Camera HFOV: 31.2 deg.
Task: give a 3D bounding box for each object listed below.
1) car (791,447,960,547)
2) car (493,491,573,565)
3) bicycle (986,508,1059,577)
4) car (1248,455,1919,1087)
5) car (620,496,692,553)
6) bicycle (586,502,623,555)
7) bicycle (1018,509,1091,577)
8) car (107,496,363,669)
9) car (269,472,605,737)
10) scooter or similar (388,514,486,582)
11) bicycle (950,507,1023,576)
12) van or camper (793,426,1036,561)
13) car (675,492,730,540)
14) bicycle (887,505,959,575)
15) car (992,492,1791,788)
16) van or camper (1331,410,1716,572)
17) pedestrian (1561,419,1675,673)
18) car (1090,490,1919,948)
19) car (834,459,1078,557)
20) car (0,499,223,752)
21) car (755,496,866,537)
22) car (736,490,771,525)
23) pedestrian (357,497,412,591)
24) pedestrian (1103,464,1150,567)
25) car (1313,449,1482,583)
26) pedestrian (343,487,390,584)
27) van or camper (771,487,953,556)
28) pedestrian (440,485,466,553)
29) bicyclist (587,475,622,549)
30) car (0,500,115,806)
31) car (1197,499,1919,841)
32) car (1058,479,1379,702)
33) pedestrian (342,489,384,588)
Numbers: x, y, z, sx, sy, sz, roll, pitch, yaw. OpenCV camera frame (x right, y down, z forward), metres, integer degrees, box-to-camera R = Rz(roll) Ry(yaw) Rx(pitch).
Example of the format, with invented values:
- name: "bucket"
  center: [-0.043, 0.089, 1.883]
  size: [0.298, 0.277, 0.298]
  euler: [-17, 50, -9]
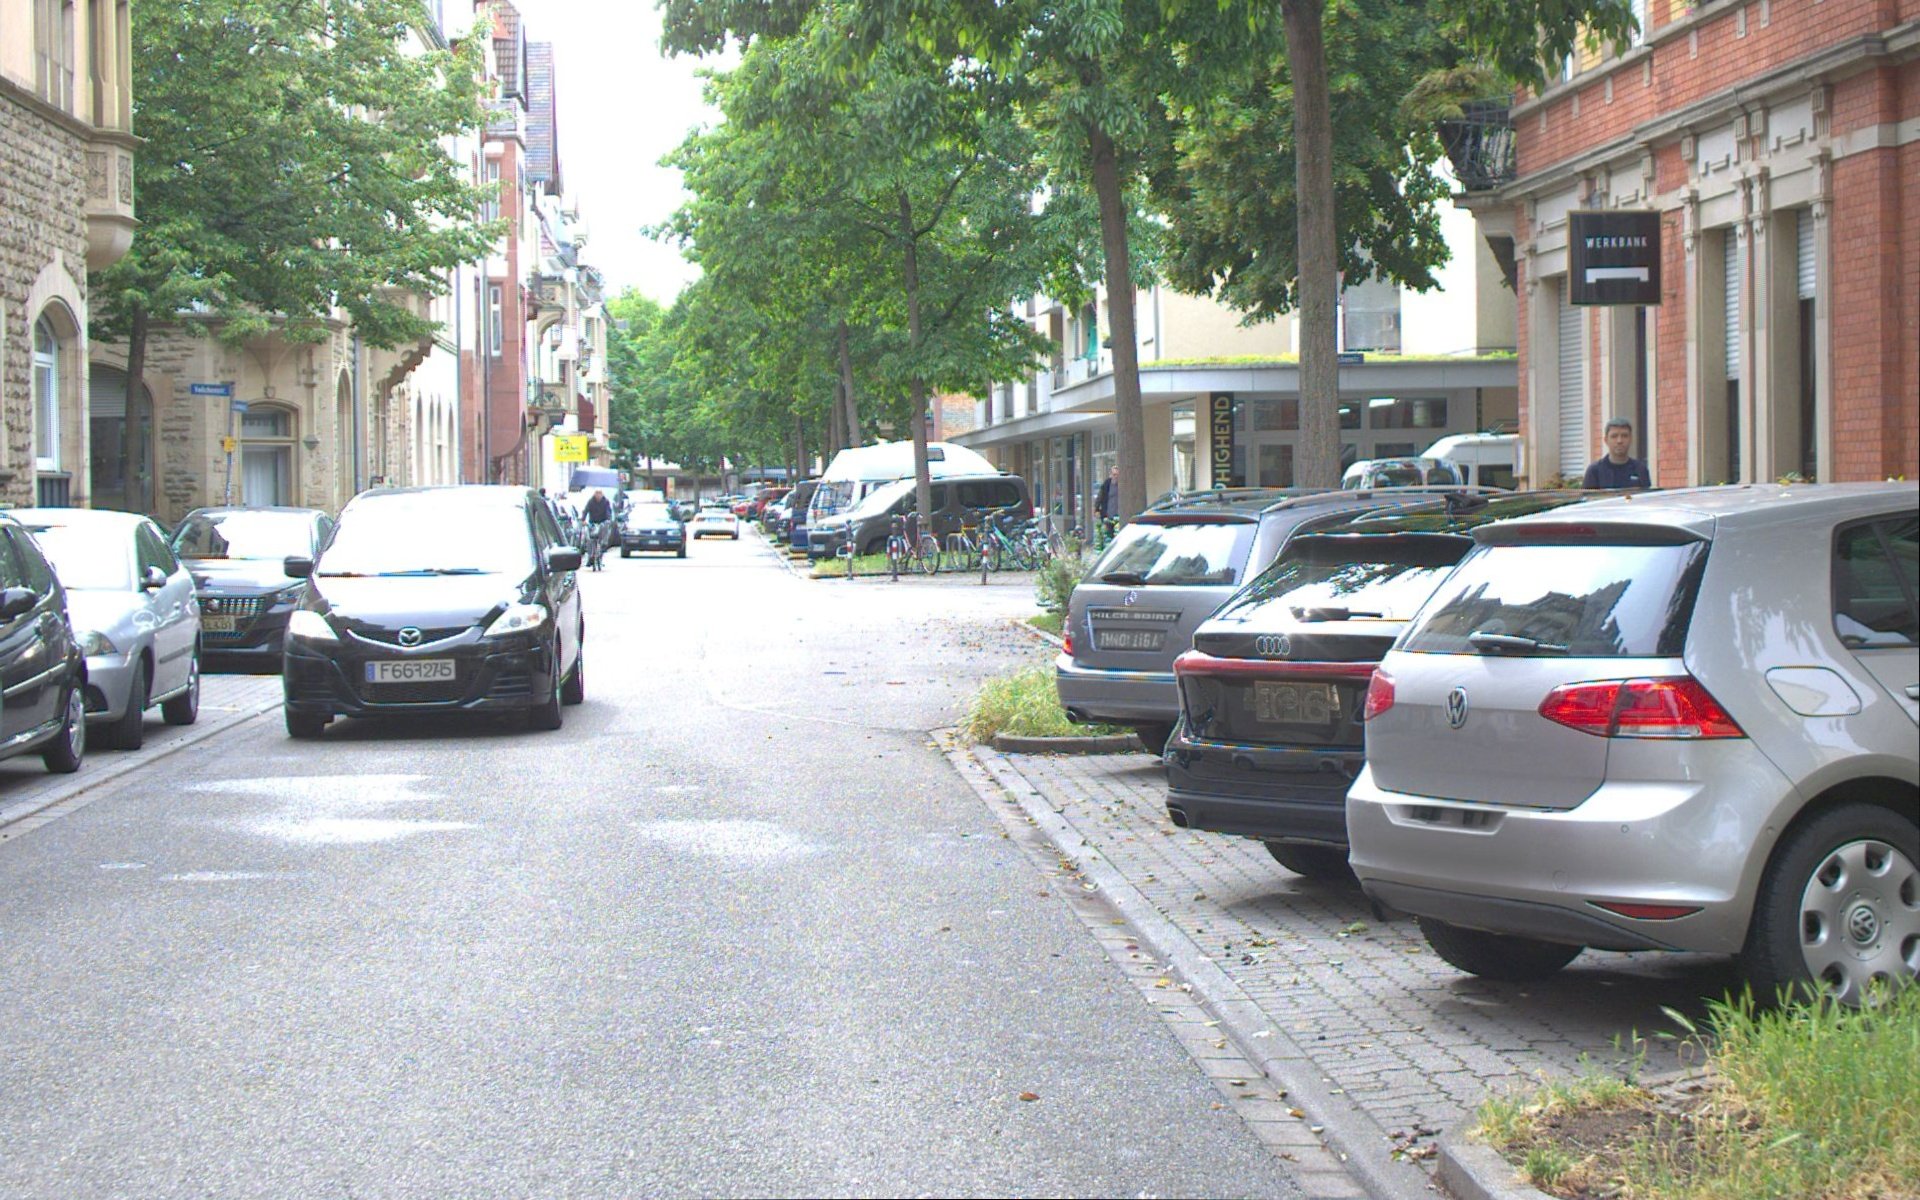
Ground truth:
- name: "car"
  center: [-1.866, -2.337, 77.593]
  size: [2.063, 2.189, 4.393]
  euler: [1, 2, 25]
- name: "car"
  center: [-9.572, -1.637, 77.169]
  size: [1.646, 1.565, 2.957]
  euler: [1, 3, -5]
- name: "bicycle"
  center: [1.084, -1.011, 59.841]
  size: [0.548, 1.169, 1.729]
  euler: [-2, 2, -25]
- name: "car"
  center: [2.788, 0.369, 10.023]
  size: [3.457, 1.557, 1.787]
  euler: [-1, 2, -26]
- name: "car"
  center: [-7.845, -1.934, 88.901]
  size: [1.708, 1.408, 3.853]
  euler: [-1, 1, -3]
- name: "bicycle"
  center: [-7.467, -1.505, 72.279]
  size: [0.634, 1.090, 1.799]
  euler: [-1, 1, -2]
- name: "bicycle"
  center: [1.648, -1.006, 60.210]
  size: [0.548, 1.169, 1.698]
  euler: [-2, 2, -25]
- name: "car"
  center: [-6.533, -0.205, 31.342]
  size: [1.727, 1.429, 3.882]
  euler: [1, 2, -4]
- name: "car"
  center: [-3.454, -0.047, 23.396]
  size: [1.809, 1.624, 4.208]
  euler: [-1, 2, -3]
- name: "scooter or similar"
  center: [-8.743, -0.875, 57.531]
  size: [1.469, 1.100, 0.676]
  euler: [2, 2, 8]
- name: "bicycle"
  center: [0.454, -1.015, 59.396]
  size: [0.548, 1.169, 1.729]
  euler: [-2, 2, -25]
- name: "van or camper"
  center: [-0.886, -2.127, 68.473]
  size: [4.582, 2.587, 1.911]
  euler: [-1, 2, -36]
- name: "car"
  center: [-9.983, -3.253, 133.475]
  size: [1.993, 1.788, 4.001]
  euler: [1, 1, -3]
- name: "bicycle"
  center: [-0.636, -1.028, 58.756]
  size: [0.548, 1.169, 1.729]
  euler: [-2, 2, -25]
- name: "car"
  center: [2.435, 0.128, 18.743]
  size: [4.432, 1.422, 1.758]
  euler: [-2, 2, -39]
- name: "van or camper"
  center: [8.796, -1.713, 54.096]
  size: [5.771, 2.486, 2.136]
  euler: [0, 2, 3]
- name: "pedestrian"
  center: [4.568, -0.381, 23.896]
  size: [0.597, 1.727, 0.664]
  euler: [-1, 2, -5]
- name: "car"
  center: [2.464, 0.327, 12.748]
  size: [3.682, 1.461, 1.705]
  euler: [-1, 2, -35]
- name: "car"
  center: [-0.064, -1.789, 66.456]
  size: [4.331, 1.847, 1.911]
  euler: [-1, 2, -29]
- name: "car"
  center: [-5.778, 0.097, 22.049]
  size: [1.589, 1.429, 3.811]
  euler: [1, 2, -5]
- name: "car"
  center: [-5.923, -3.324, 136.607]
  size: [4.011, 1.554, 1.884]
  euler: [-2, 2, -34]
- name: "car"
  center: [-12.432, -5.548, 206.781]
  size: [1.993, 2.006, 4.001]
  euler: [2, 1, -4]
- name: "pedestrian"
  center: [-9.833, -0.958, 58.781]
  size: [0.631, 1.588, 0.668]
  euler: [1, 2, 37]
- name: "pedestrian"
  center: [2.913, -1.479, 60.046]
  size: [0.779, 1.790, 0.509]
  euler: [0, 2, -2]
- name: "car"
  center: [6.121, -1.201, 48.460]
  size: [1.770, 1.812, 4.001]
  euler: [0, 2, -1]
- name: "pedestrian"
  center: [-10.009, -1.091, 57.967]
  size: [0.616, 1.637, 0.603]
  euler: [0, 2, 8]
- name: "van or camper"
  center: [-2.923, -2.355, 103.088]
  size: [5.006, 1.863, 2.127]
  euler: [-3, 2, -31]
- name: "pedestrian"
  center: [-11.401, -1.824, 77.346]
  size: [0.515, 1.513, 0.547]
  euler: [-1, 2, -4]
- name: "bicyclist"
  center: [-7.473, -1.842, 72.306]
  size: [0.647, 1.533, 0.677]
  euler: [-1, 2, -1]
- name: "car"
  center: [-5.423, 0.217, 17.617]
  size: [1.517, 1.429, 3.456]
  euler: [1, 2, -4]
- name: "car"
  center: [3.149, 0.241, 16.421]
  size: [3.872, 1.430, 1.746]
  euler: [-2, 2, -39]
- name: "car"
  center: [1.878, -0.137, 26.287]
  size: [1.764, 1.481, 4.480]
  euler: [-3, 2, -4]
- name: "pedestrian"
  center: [-9.959, -1.024, 57.373]
  size: [0.528, 1.637, 0.528]
  euler: [1, 2, 8]
